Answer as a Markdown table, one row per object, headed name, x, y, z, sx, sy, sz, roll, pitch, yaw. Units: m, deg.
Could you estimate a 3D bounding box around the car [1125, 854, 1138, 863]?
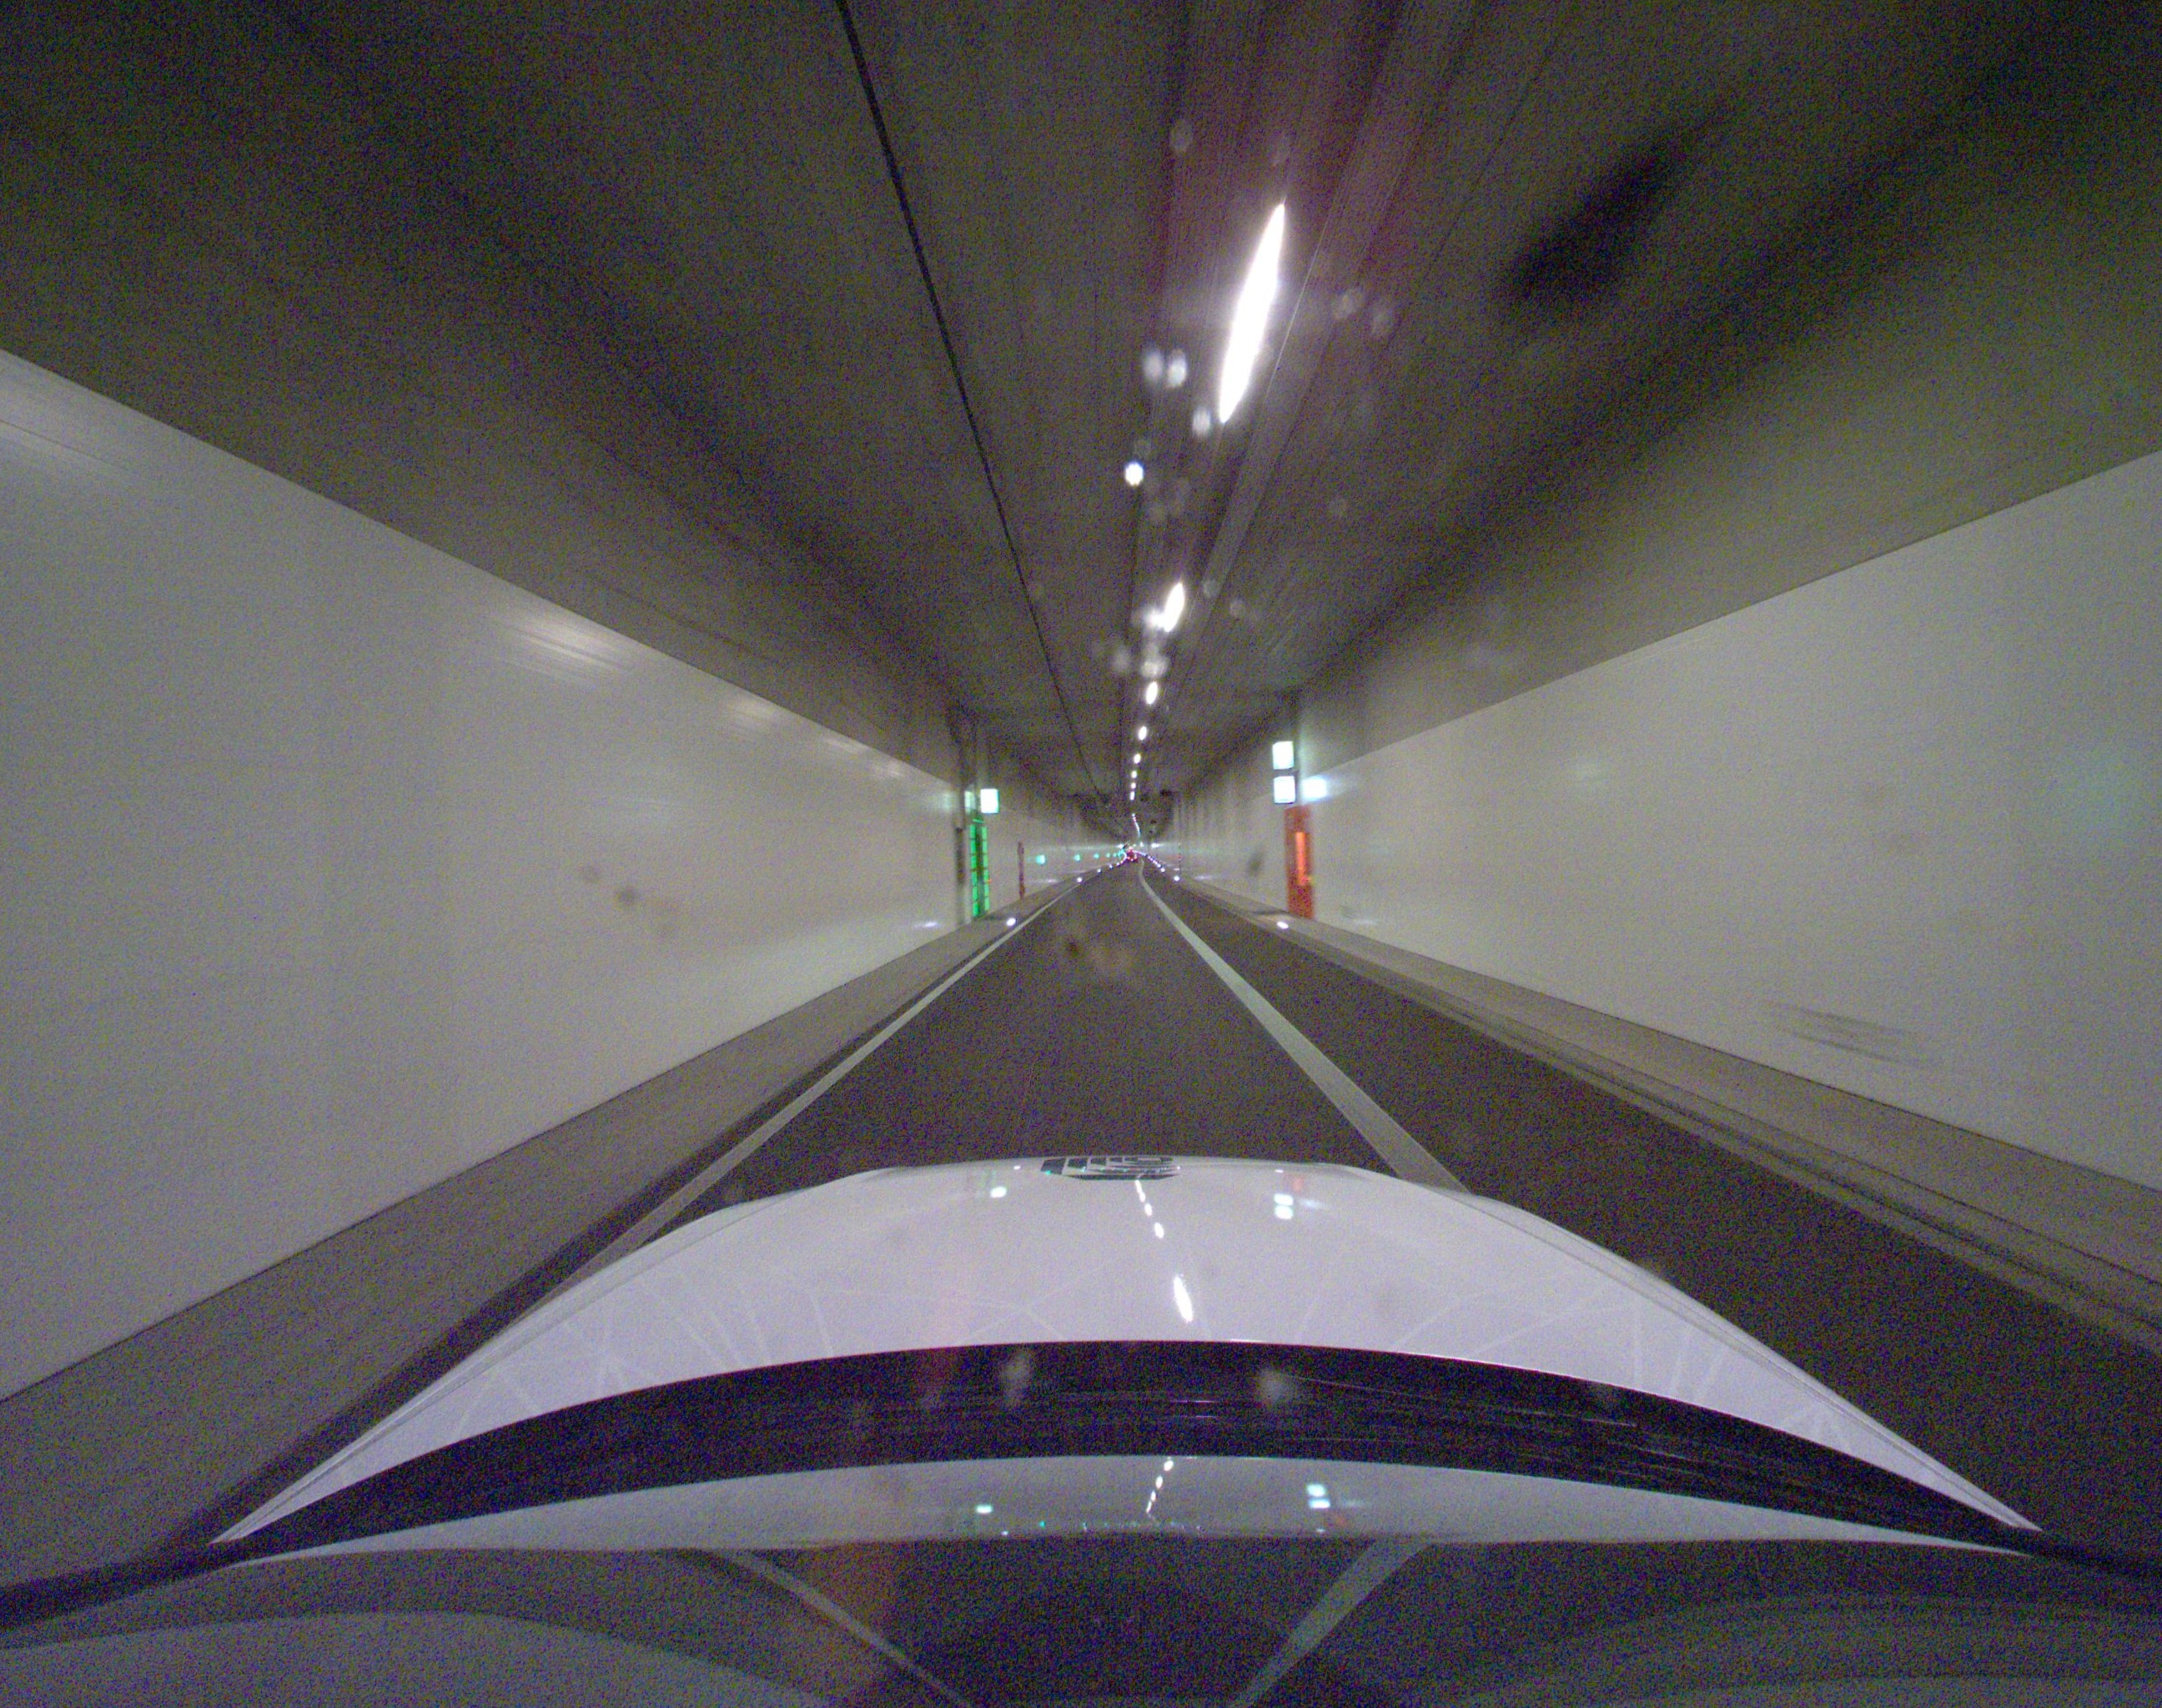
| name | x | y | z | sx | sy | sz | roll | pitch | yaw |
| --- | --- | --- | --- | --- | --- | --- | --- | --- | --- |
| car | 8.217 | 0.703 | 131.706 | 1.986 | 1.420 | 4.002 | -1 | 0 | 2 |
